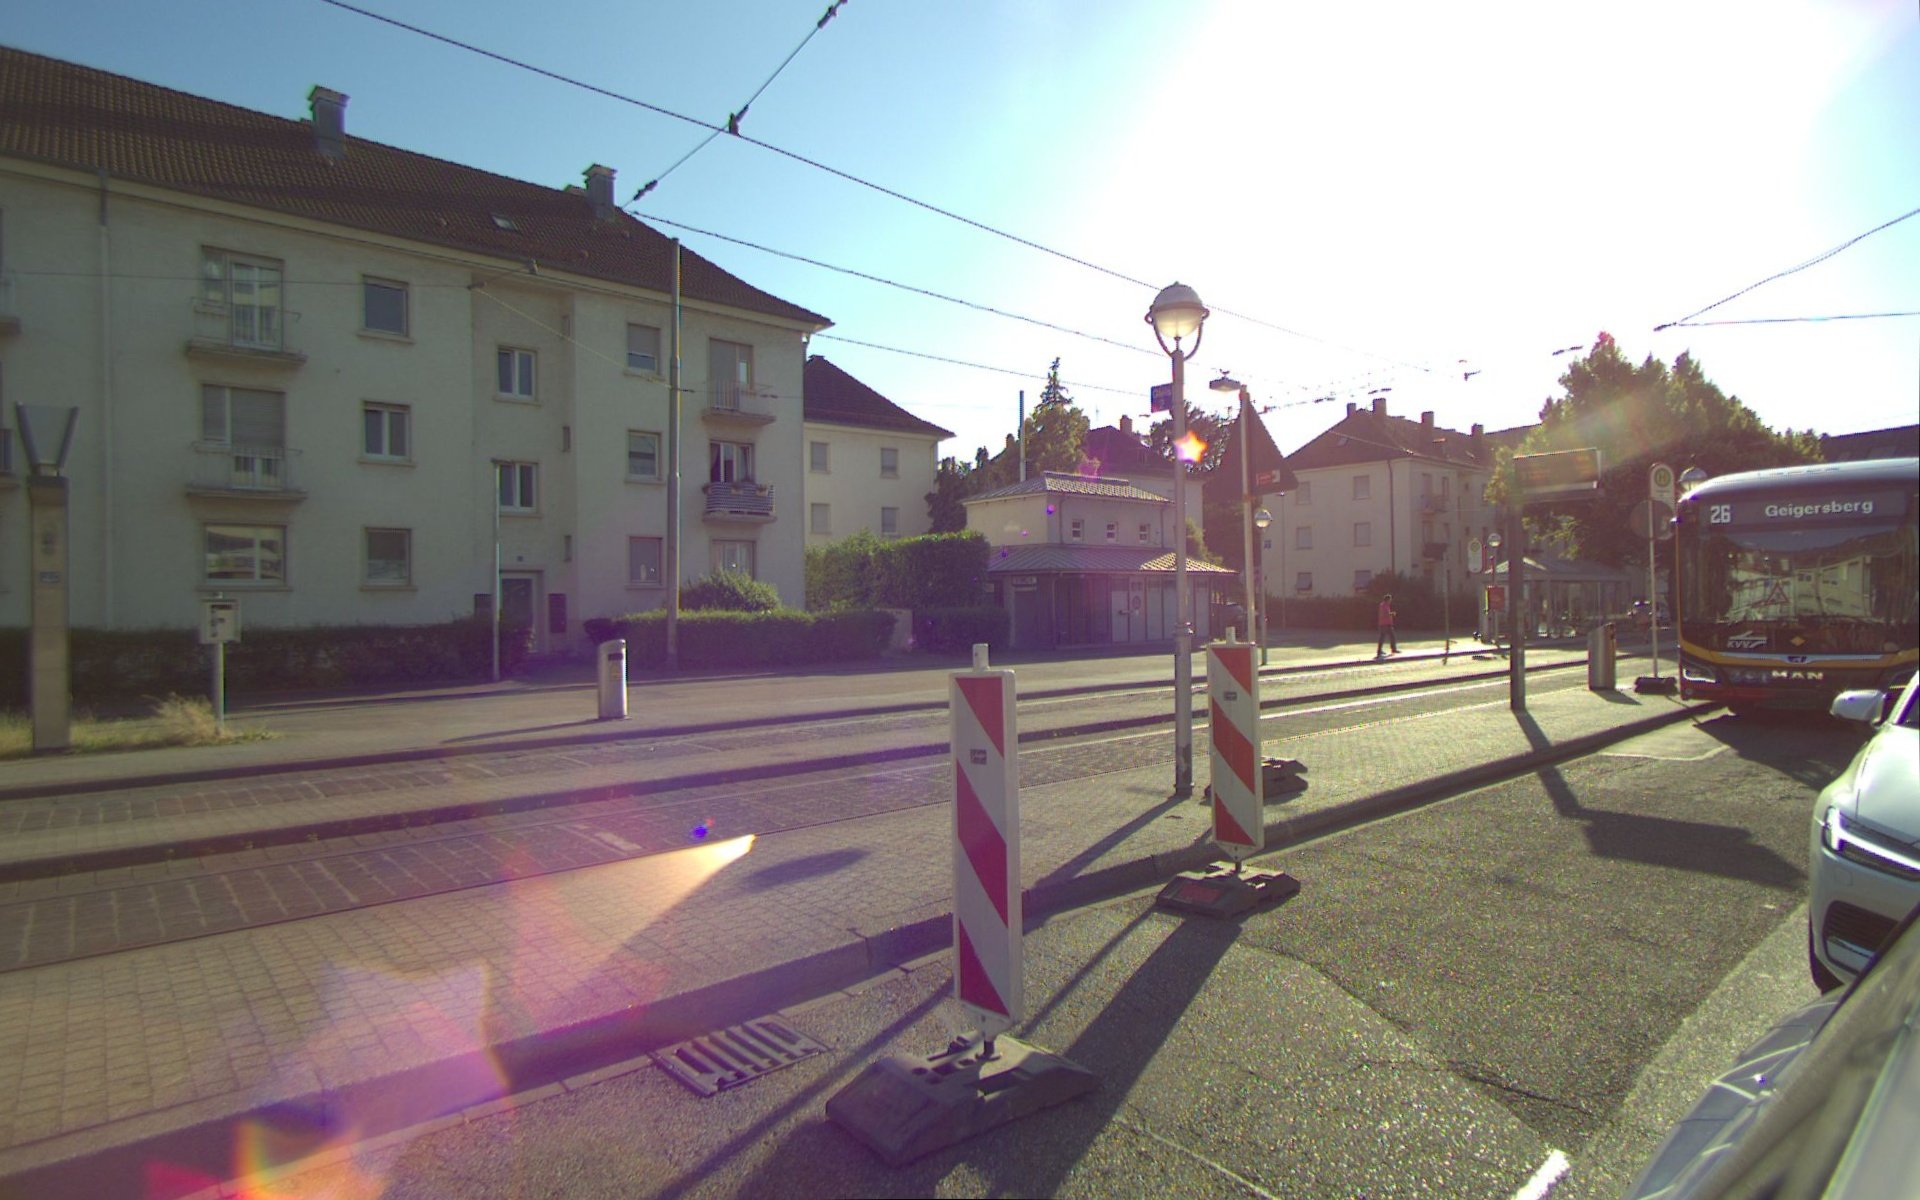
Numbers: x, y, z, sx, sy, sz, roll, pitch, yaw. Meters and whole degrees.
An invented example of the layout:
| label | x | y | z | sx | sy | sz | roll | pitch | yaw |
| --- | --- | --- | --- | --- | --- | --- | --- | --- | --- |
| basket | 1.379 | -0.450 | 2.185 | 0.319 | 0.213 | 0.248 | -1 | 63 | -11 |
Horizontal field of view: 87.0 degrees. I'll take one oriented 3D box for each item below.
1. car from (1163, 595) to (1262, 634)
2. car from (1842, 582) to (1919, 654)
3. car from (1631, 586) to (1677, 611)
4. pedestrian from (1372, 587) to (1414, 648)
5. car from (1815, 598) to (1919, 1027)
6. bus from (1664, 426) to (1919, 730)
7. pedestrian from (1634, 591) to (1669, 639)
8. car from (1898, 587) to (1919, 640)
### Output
| label | x | y | z | sx | sy | sz | roll | pitch | yaw |
| --- | --- | --- | --- | --- | --- | --- | --- | --- | --- |
| car | 11.592 | 0.679 | 46.675 | 1.964 | 1.694 | 4.050 | -1 | -1 | -39 |
| car | 21.232 | 0.357 | 22.372 | 4.740 | 1.477 | 1.968 | 0 | 0 | -41 |
| car | 53.786 | -0.116 | 78.442 | 3.930 | 1.887 | 1.997 | -1 | 0 | -41 |
| pedestrian | 12.601 | 0.481 | 29.434 | 0.810 | 1.740 | 0.841 | 0 | 0 | -39 |
| car | 5.279 | 0.730 | 4.366 | 4.143 | 1.472 | 1.819 | 0 | 0 | -41 |
| bus | 14.323 | -0.266 | 15.854 | 11.824 | 3.345 | 2.745 | 0 | 0 | -42 |
| pedestrian | 23.878 | 0.492 | 34.949 | 0.815 | 1.631 | 0.837 | 0 | 0 | 20 |
| car | 28.791 | 0.365 | 29.237 | 4.740 | 1.477 | 1.968 | 0 | 0 | -41 |
